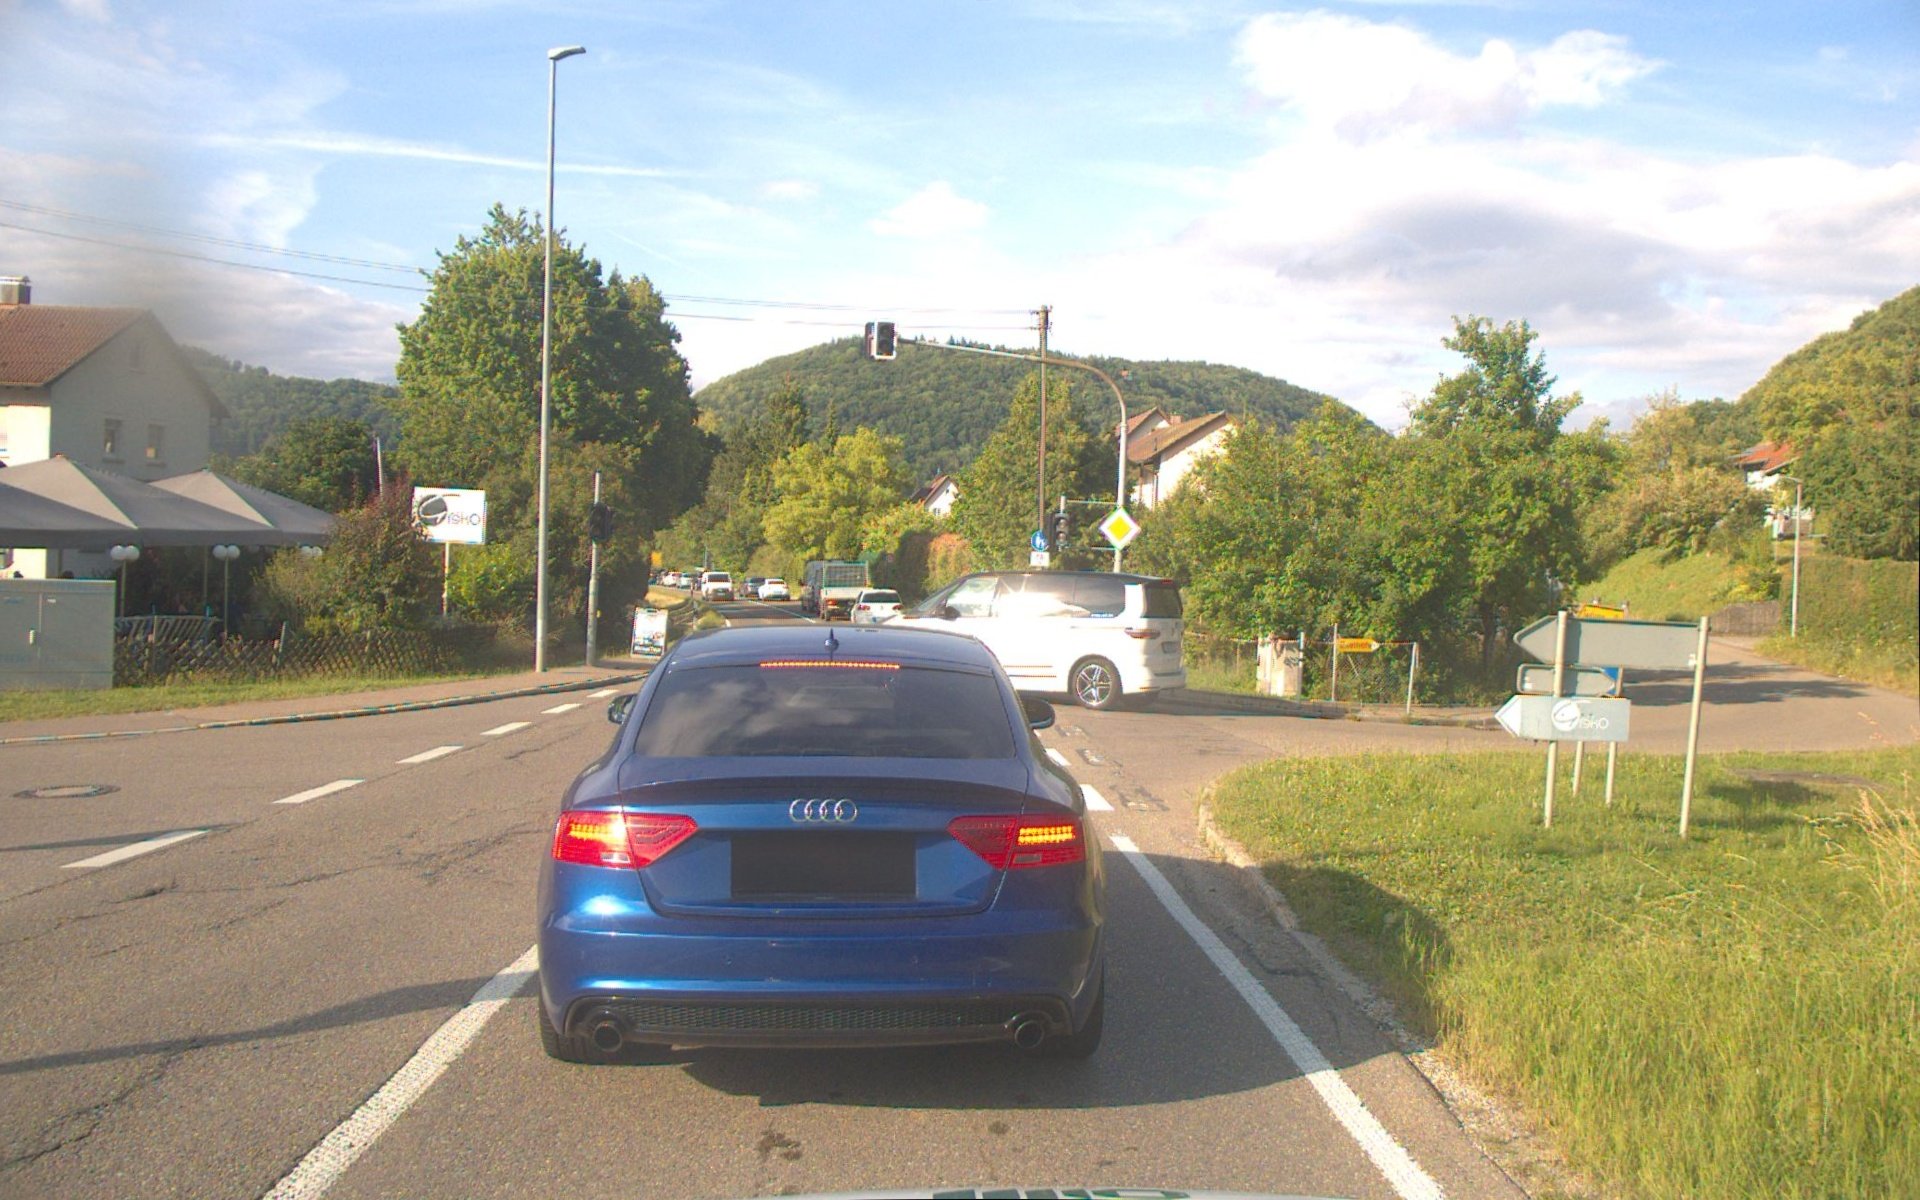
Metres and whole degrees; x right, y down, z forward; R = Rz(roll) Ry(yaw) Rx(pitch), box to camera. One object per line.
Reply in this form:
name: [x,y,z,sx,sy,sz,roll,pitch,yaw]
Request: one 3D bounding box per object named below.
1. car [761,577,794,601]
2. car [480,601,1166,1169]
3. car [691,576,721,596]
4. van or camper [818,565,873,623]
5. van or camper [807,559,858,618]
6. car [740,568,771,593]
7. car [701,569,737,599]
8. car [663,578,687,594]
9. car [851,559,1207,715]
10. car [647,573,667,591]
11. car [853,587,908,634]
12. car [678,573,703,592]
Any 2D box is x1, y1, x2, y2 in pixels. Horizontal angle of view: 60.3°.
car: [-12.119,-0.730,109.638,1.788,1.579,3.988,0,1,-12]
car: [-0.439,0.744,6.465,1.793,1.433,4.224,0,0,-2]
car: [-22.662,-1.285,147.641,2.009,1.713,3.979,0,1,-18]
van or camper: [-5.012,-0.301,71.876,2.138,2.426,5.362,0,1,-7]
van or camper: [-6.657,-0.619,85.634,2.369,2.955,6.123,0,1,-7]
car: [-14.981,-1.423,120.943,1.767,1.825,3.984,0,1,-15]
car: [-16.079,-1.065,110.194,1.959,1.937,5.236,-1,1,-13]
car: [-28.421,-1.403,164.853,1.910,1.449,3.983,0,1,-16]
car: [1.005,0.479,24.249,4.758,1.909,1.999,3,1,24]
car: [-32.479,-1.934,177.115,1.743,1.814,3.983,0,1,-16]
car: [-2.658,0.326,55.926,1.736,1.439,4.172,2,0,-2]
car: [-25.400,-1.660,155.940,1.910,1.713,3.983,0,0,-16]
